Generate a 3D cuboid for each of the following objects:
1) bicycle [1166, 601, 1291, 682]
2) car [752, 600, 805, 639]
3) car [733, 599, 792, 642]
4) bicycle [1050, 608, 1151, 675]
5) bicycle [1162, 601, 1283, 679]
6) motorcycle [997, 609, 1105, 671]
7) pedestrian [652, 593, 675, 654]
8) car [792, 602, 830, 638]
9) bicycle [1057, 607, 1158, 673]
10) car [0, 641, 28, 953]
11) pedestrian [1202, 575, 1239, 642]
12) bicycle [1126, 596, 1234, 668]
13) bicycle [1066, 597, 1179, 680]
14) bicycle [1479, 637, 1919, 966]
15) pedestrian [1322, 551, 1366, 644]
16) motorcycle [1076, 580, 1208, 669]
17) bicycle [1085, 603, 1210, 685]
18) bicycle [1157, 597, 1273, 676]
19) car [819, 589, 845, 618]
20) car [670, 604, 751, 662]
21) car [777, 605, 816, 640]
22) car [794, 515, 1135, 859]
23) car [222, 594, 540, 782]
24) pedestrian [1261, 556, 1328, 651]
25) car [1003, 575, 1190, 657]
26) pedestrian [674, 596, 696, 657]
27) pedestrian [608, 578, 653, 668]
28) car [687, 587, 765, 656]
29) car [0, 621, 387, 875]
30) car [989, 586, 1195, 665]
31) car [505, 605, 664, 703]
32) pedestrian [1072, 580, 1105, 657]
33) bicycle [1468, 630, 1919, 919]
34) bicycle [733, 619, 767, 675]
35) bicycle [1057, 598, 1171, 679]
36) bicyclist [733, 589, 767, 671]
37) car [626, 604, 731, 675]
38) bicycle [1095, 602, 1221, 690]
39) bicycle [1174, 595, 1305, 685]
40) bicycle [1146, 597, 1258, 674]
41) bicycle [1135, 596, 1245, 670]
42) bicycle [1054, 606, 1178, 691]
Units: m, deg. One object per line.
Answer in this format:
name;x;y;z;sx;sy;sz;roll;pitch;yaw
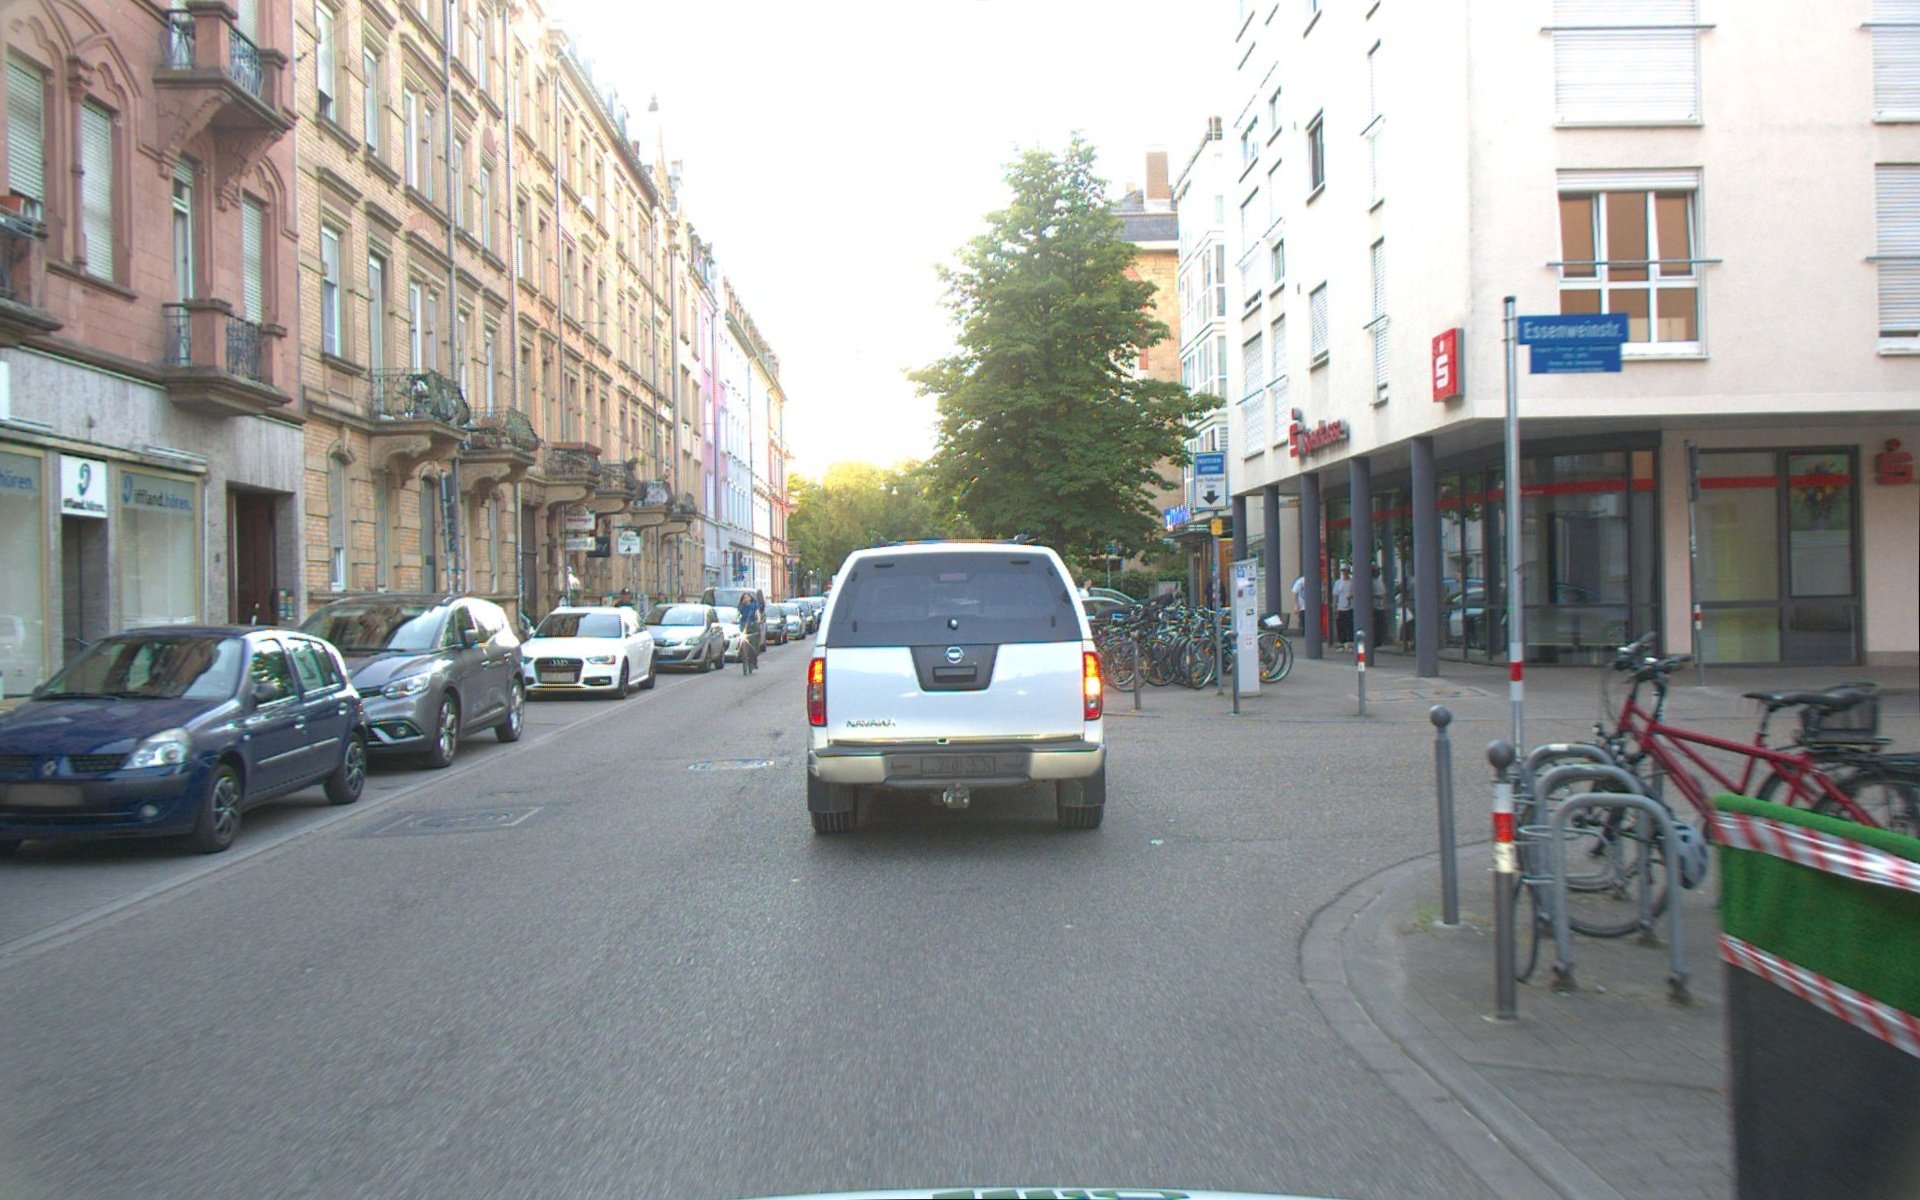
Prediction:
bicycle;3.969;0.613;24.528;1.687;1.072;0.654;-4;-1;1
car;-7.464;0.791;68.268;1.797;1.483;4.205;1;0;-2
car;-7.041;0.738;59.211;1.702;1.443;4.776;0;-1;-2
bicycle;2.530;0.750;29.914;1.684;1.049;0.667;-5;-1;1
bicycle;3.984;0.608;25.201;1.687;1.072;0.654;-4;-1;1
motorcycle;1.845;0.805;33.562;2.025;1.097;0.660;-3;-1;-18
pedestrian;-9.000;0.716;50.180;0.569;1.802;0.996;1;0;-6
car;-7.568;1.006;84.125;1.809;1.688;4.248;-2;0;-5
bicycle;2.714;0.735;30.531;1.736;1.040;0.565;-5;-1;1
car;-5.239;0.909;5.602;1.688;1.445;4.580;0;0;-2
pedestrian;6.955;0.225;44.239;0.713;1.746;0.963;-3;-1;-2
bicycle;3.813;0.551;28.727;1.689;1.137;0.653;-4;-1;-5
bicycle;2.731;0.637;27.698;1.751;1.202;0.734;-5;-1;9
bicycle;3.149;0.768;6.586;1.906;1.154;0.655;-4;-1;36
pedestrian;7.380;-0.056;31.779;0.649;1.753;0.662;-2;1;25
motorcycle;3.574;0.490;32.721;2.441;1.576;0.824;-4;-1;1
bicycle;2.888;0.679;25.543;1.773;1.137;0.706;-4;-1;-4
bicycle;4.051;0.578;26.361;1.687;1.137;0.654;-4;-1;1
car;-9.306;0.254;120.247;1.776;2.011;4.181;0;0;-6
car;-6.642;0.847;44.429;1.748;1.447;4.482;1;0;-4
car;-7.656;1.042;77.792;1.603;1.593;3.779;0;0;-3
car;0.004;0.490;11.710;1.872;1.885;5.269;0;0;-1
car;-5.765;0.784;17.086;1.815;1.662;4.444;0;0;-2
pedestrian;6.378;0.068;31.576;0.770;1.753;0.898;-5;2;-45
car;3.294;0.378;40.416;4.311;1.676;1.745;-4;0;-2
pedestrian;-8.396;0.802;50.531;0.593;1.803;0.776;1;0;-6
pedestrian;-6.716;0.474;33.726;0.542;1.786;1.023;-1;-1;11
car;-7.009;0.621;49.955;1.954;1.957;4.947;1;0;-4
car;-5.486;0.917;11.798;1.553;1.445;3.695;-1;0;-1
car;2.969;0.572;37.708;4.341;1.480;1.776;-4;0;-8
car;-6.126;0.826;27.451;1.722;1.436;4.507;0;0;-2
pedestrian;3.026;0.435;38.996;0.615;1.784;0.586;0;-1;-13
bicycle;3.395;0.769;7.536;1.906;1.154;0.655;-4;-1;36
bicycle;-4.394;0.966;34.655;0.632;1.099;2.165;-3;0;-7
bicycle;2.641;0.655;28.538;1.831;1.202;0.743;-5;-1;3
bicyclist;-4.399;0.624;34.669;0.632;1.649;0.917;-3;0;-7
car;-6.242;0.840;37.065;1.682;1.483;3.999;0;0;-1
bicycle;2.839;0.659;23.888;1.687;1.137;0.707;-4;-1;1
bicycle;3.963;0.568;23.503;1.693;1.151;0.577;-3;-1;-14
bicycle;3.929;0.573;26.927;1.687;1.137;0.654;-4;-1;1
bicycle;3.887;0.555;28.009;1.689;1.137;0.653;-4;-1;-5
bicycle;2.322;0.715;24.730;1.688;1.137;0.706;-4;-1;-4
